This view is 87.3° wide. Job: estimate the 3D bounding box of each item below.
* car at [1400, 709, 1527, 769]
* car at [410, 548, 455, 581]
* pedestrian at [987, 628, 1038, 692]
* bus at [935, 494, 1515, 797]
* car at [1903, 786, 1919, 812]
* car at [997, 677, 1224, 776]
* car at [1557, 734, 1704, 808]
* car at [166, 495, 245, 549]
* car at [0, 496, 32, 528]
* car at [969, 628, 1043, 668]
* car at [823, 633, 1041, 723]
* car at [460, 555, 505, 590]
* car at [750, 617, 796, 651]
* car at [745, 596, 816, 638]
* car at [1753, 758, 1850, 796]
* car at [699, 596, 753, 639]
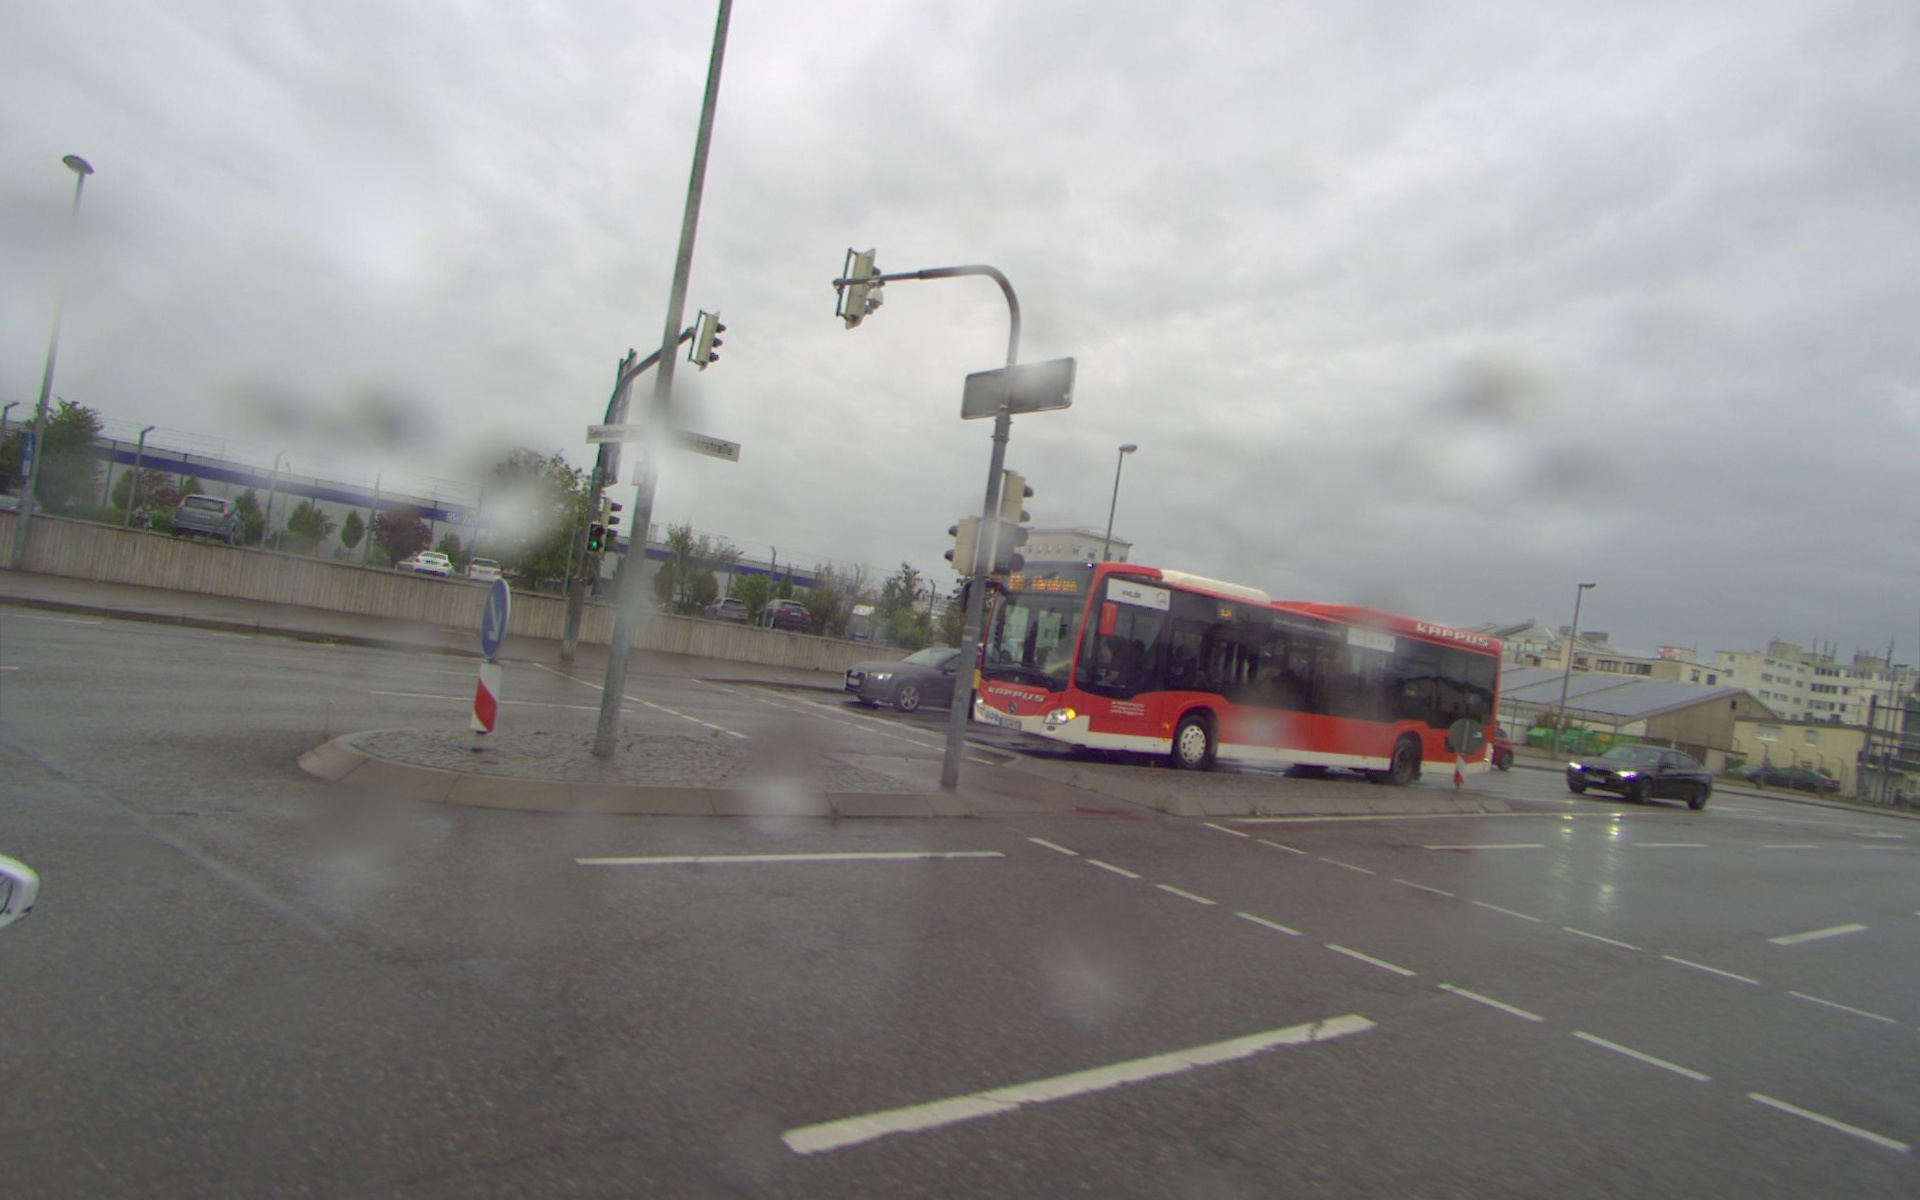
[{"bbox_3d":[16.953,4.690,33.859,3.939,1.525,1.857,9,-2,-30],"label":"car"},{"bbox_3d":[-27.910,-1.846,53.343,1.801,1.450,4.080,8,-2,-25],"label":"car"},{"bbox_3d":[1.498,1.706,28.752,0.866,1.630,0.860,8,3,-39],"label":"pedestrian"},{"bbox_3d":[5.581,1.244,18.629,12.195,3.614,2.959,11,-3,-35],"label":"bus"},{"bbox_3d":[73.647,15.310,76.860,3.978,1.747,1.975,10,-2,-44],"label":"car"},{"bbox_3d":[3.203,2.659,20.949,4.554,1.484,1.884,10,-2,-36],"label":"car"},{"bbox_3d":[17.758,4.538,26.616,3.965,1.515,1.836,9,-2,-35],"label":"car"},{"bbox_3d":[-27.309,-2.777,36.525,1.730,1.571,3.504,8,-2,-30],"label":"car"},{"bbox_3d":[-54.763,-5.092,57.524,1.654,1.625,3.504,8,-2,-30],"label":"car"},{"bbox_3d":[2.364,2.501,53.027,1.695,1.577,4.154,8,-2,-32],"label":"car"},{"bbox_3d":[-0.554,1.713,21.801,4.357,1.370,1.808,10,-2,-36],"label":"car"},{"bbox_3d":[-26.050,-1.499,54.847,1.843,1.543,4.075,8,-2,-28],"label":"car"},{"bbox_3d":[-13.744,2.479,73.765,1.979,2.037,3.971,8,-2,-30],"label":"car"},{"bbox_3d":[-8.411,0.754,46.949,1.695,1.577,4.154,8,-2,-32],"label":"car"},{"bbox_3d":[50.656,10.647,60.645,1.979,1.469,3.972,9,-2,-28],"label":"car"},{"bbox_3d":[-13.184,0.950,56.573,1.730,2.037,3.795,8,-2,-30],"label":"car"}]
